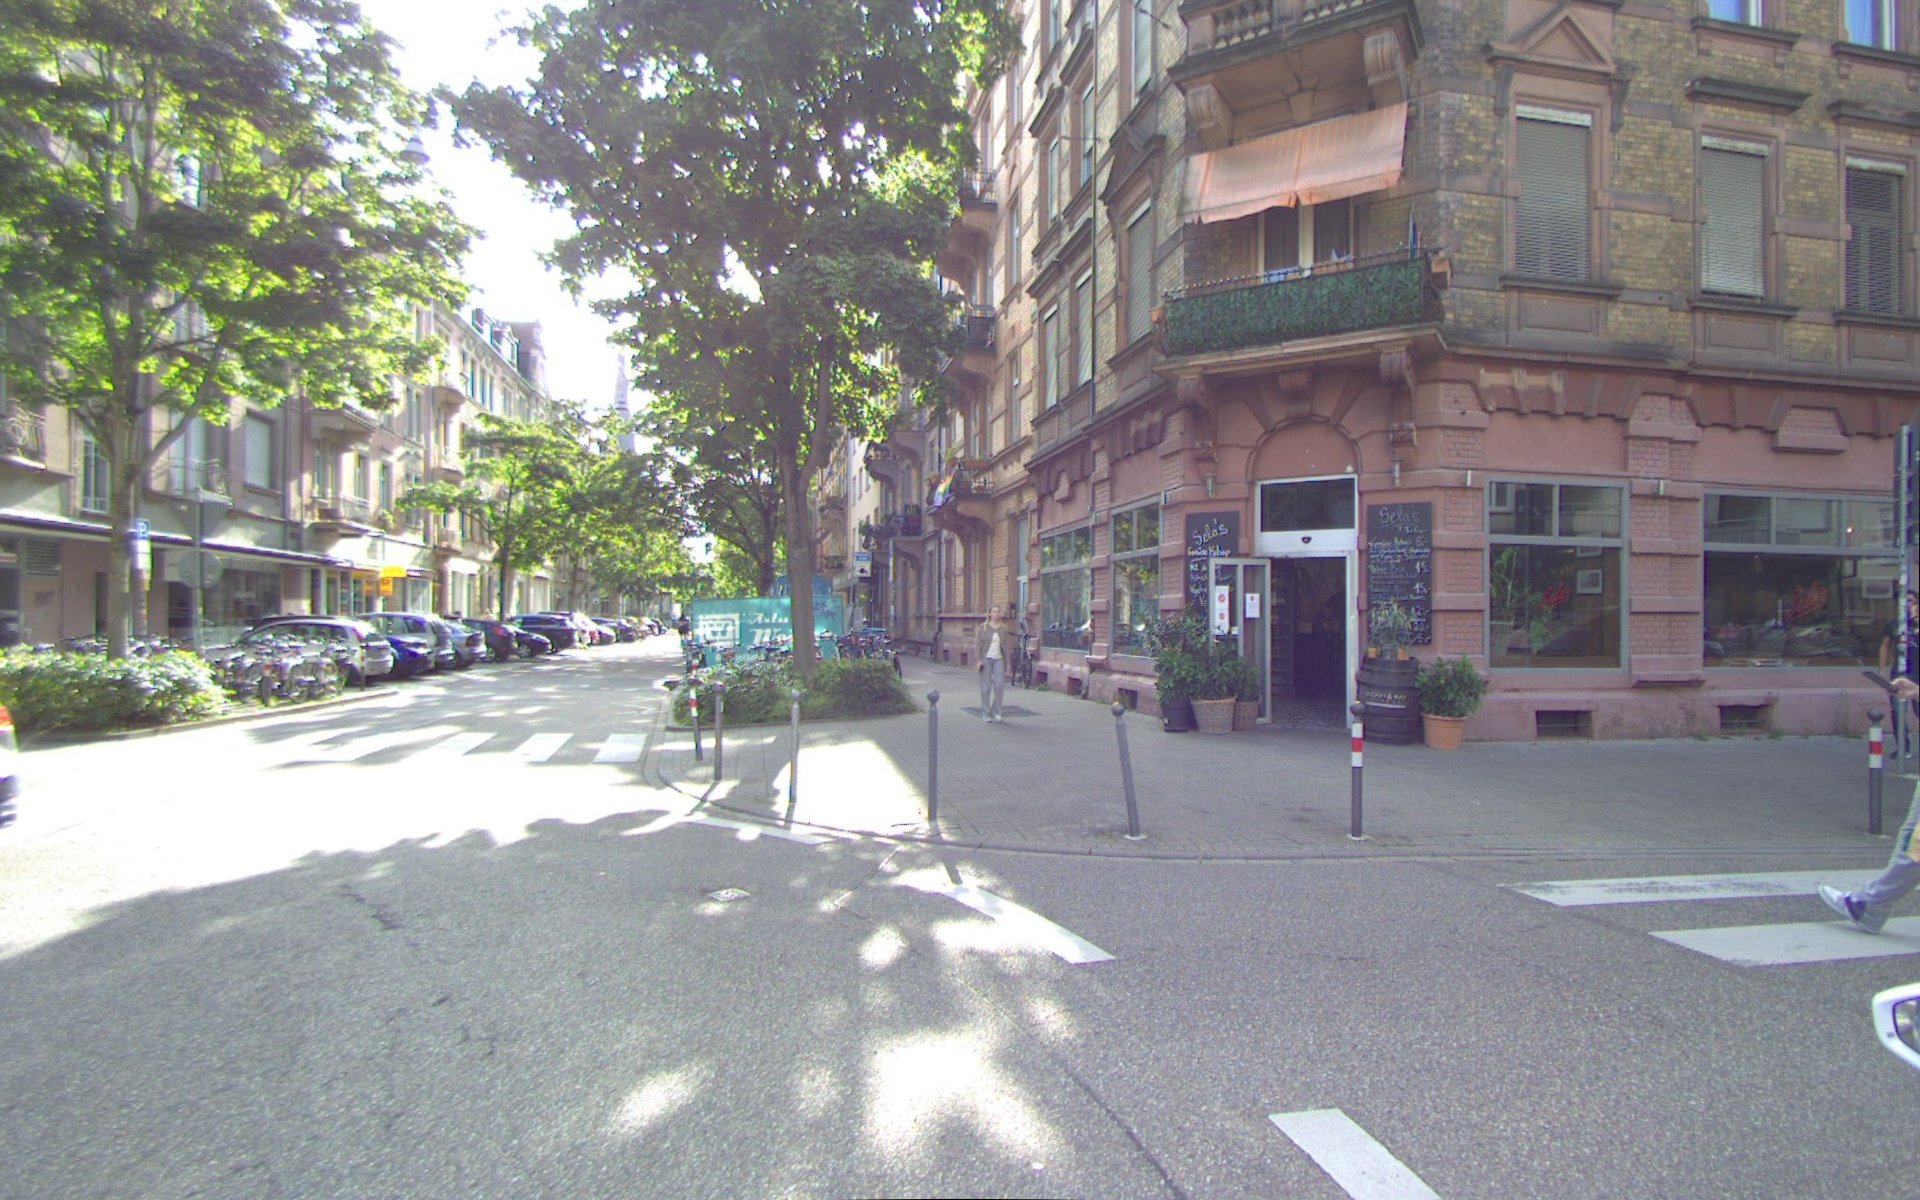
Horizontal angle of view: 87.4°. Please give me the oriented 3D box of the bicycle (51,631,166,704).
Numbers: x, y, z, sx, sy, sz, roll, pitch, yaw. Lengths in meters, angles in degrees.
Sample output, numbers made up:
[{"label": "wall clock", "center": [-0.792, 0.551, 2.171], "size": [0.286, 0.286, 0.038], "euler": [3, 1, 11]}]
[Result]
[{"label": "bicycle", "center": [-14.503, 1.112, 17.187], "size": [0.471, 1.149, 2.425], "euler": [0, -1, -15]}]

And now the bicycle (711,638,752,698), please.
[{"label": "bicycle", "center": [-4.482, 1.300, 19.628], "size": [0.582, 1.043, 2.069], "euler": [-1, 0, -18]}]

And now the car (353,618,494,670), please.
[{"label": "car", "center": [-15.387, 1.256, 28.938], "size": [3.280, 1.462, 1.374], "euler": [0, -2, -12]}]

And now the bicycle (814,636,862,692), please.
[{"label": "bicycle", "center": [-2.518, 1.289, 20.608], "size": [0.582, 1.025, 2.069], "euler": [-1, 0, -18]}]

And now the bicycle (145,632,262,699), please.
[{"label": "bicycle", "center": [-13.757, 1.158, 18.360], "size": [0.696, 1.116, 2.508], "euler": [-1, -1, -12]}]

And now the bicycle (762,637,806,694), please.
[{"label": "bicycle", "center": [-3.576, 1.299, 20.257], "size": [0.582, 1.025, 2.069], "euler": [-1, 0, -18]}]

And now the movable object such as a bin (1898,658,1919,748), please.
[{"label": "movable object such as a bin", "center": [8.121, 0.852, 8.276], "size": [0.468, 0.724, 0.383], "euler": [0, 1, -17]}]

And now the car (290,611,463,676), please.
[{"label": "car", "center": [-15.404, 1.111, 26.688], "size": [3.634, 1.618, 1.573], "euler": [0, 0, -12]}]

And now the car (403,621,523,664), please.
[{"label": "car", "center": [-16.456, 1.406, 33.374], "size": [3.280, 1.350, 1.374], "euler": [0, -2, -12]}]

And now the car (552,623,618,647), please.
[{"label": "car", "center": [-20.967, 1.956, 56.286], "size": [3.280, 1.333, 1.404], "euler": [0, -2, -12]}]

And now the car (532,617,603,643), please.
[{"label": "car", "center": [-20.870, 1.612, 53.473], "size": [3.280, 1.333, 1.404], "euler": [0, -2, -12]}]

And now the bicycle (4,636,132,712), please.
[{"label": "bicycle", "center": [-15.048, 1.203, 17.035], "size": [0.570, 1.149, 2.424], "euler": [0, -1, -15]}]

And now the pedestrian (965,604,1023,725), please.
[{"label": "pedestrian", "center": [0.461, 0.870, 13.924], "size": [0.604, 1.599, 0.809], "euler": [-3, 1, -7]}]

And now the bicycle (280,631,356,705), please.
[{"label": "bicycle", "center": [-11.673, 1.200, 18.333], "size": [0.471, 1.240, 2.287], "euler": [0, -1, -15]}]

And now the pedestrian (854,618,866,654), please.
[{"label": "pedestrian", "center": [-4.818, 1.733, 48.443], "size": [0.559, 1.705, 0.625], "euler": [0, -1, -2]}]

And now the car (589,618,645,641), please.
[{"label": "car", "center": [-22.312, 1.912, 65.411], "size": [3.280, 1.495, 1.404], "euler": [0, -2, -12]}]

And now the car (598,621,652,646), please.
[{"label": "car", "center": [-22.918, 2.297, 68.763], "size": [3.300, 1.615, 1.593], "euler": [0, 0, -11]}]

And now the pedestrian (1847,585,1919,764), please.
[{"label": "pedestrian", "center": [10.376, 0.778, 10.962], "size": [0.844, 1.865, 0.676], "euler": [0, 2, -18]}]

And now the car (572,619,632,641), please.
[{"label": "car", "center": [-22.131, 1.883, 62.147], "size": [3.280, 1.333, 1.404], "euler": [0, -2, -12]}]

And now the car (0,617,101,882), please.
[{"label": "car", "center": [-7.250, 0.782, 5.308], "size": [3.919, 1.456, 1.798], "euler": [1, -2, 4]}]

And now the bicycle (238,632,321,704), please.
[{"label": "bicycle", "center": [-12.117, 1.175, 17.964], "size": [0.471, 1.173, 2.285], "euler": [0, -1, -15]}]

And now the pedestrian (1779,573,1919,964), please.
[{"label": "pedestrian", "center": [4.475, 0.739, 4.591], "size": [0.798, 1.693, 1.011], "euler": [2, -2, -40]}]

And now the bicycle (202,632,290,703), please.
[{"label": "bicycle", "center": [-12.609, 1.153, 17.811], "size": [0.471, 1.149, 2.257], "euler": [0, -1, -15]}]

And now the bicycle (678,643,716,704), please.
[{"label": "bicycle", "center": [-5.090, 1.380, 19.409], "size": [0.582, 1.043, 2.134], "euler": [-1, 0, -18]}]

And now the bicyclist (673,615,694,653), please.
[{"label": "bicyclist", "center": [-11.910, 1.451, 43.267], "size": [0.680, 1.608, 1.127], "euler": [1, 1, -6]}]

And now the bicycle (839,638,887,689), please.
[{"label": "bicycle", "center": [-2.078, 1.325, 21.378], "size": [0.582, 0.981, 2.069], "euler": [-1, 0, -18]}]

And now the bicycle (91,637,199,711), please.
[{"label": "bicycle", "center": [-13.993, 1.233, 17.327], "size": [0.471, 1.149, 2.424], "euler": [0, -1, -15]}]

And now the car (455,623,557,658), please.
[{"label": "car", "center": [-17.164, 1.524, 38.120], "size": [3.280, 1.270, 1.374], "euler": [0, -2, -12]}]

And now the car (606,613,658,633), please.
[{"label": "car", "center": [-24.632, 1.706, 75.490], "size": [3.656, 1.492, 1.799], "euler": [0, 0, -17]}]

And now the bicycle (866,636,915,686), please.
[{"label": "bicycle", "center": [-1.552, 1.322, 22.095], "size": [0.582, 0.981, 2.069], "euler": [-1, 0, -18]}]

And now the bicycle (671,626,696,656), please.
[{"label": "bicycle", "center": [-11.902, 1.757, 43.243], "size": [0.680, 1.215, 1.976], "euler": [1, 0, -6]}]

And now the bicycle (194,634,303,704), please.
[{"label": "bicycle", "center": [-13.117, 1.242, 18.610], "size": [0.639, 1.117, 2.508], "euler": [-1, 0, -11]}]

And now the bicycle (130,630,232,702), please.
[{"label": "bicycle", "center": [-13.520, 1.108, 17.512], "size": [0.471, 1.149, 2.425], "euler": [0, -1, -15]}]

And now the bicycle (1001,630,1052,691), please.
[{"label": "bicycle", "center": [1.279, 1.156, 19.526], "size": [0.519, 1.081, 1.779], "euler": [1, 0, -11]}]

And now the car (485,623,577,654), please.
[{"label": "car", "center": [-17.822, 1.609, 41.813], "size": [3.280, 1.270, 1.374], "euler": [0, -2, -12]}]

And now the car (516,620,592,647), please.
[{"label": "car", "center": [-20.311, 1.692, 50.335], "size": [3.280, 1.333, 1.404], "euler": [0, -2, -12]}]

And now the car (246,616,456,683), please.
[{"label": "car", "center": [-14.582, 1.163, 24.251], "size": [4.002, 1.496, 1.573], "euler": [0, 0, -12]}]

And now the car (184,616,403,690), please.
[{"label": "car", "center": [-14.406, 1.118, 21.898], "size": [3.634, 1.496, 1.573], "euler": [0, 0, -12]}]
